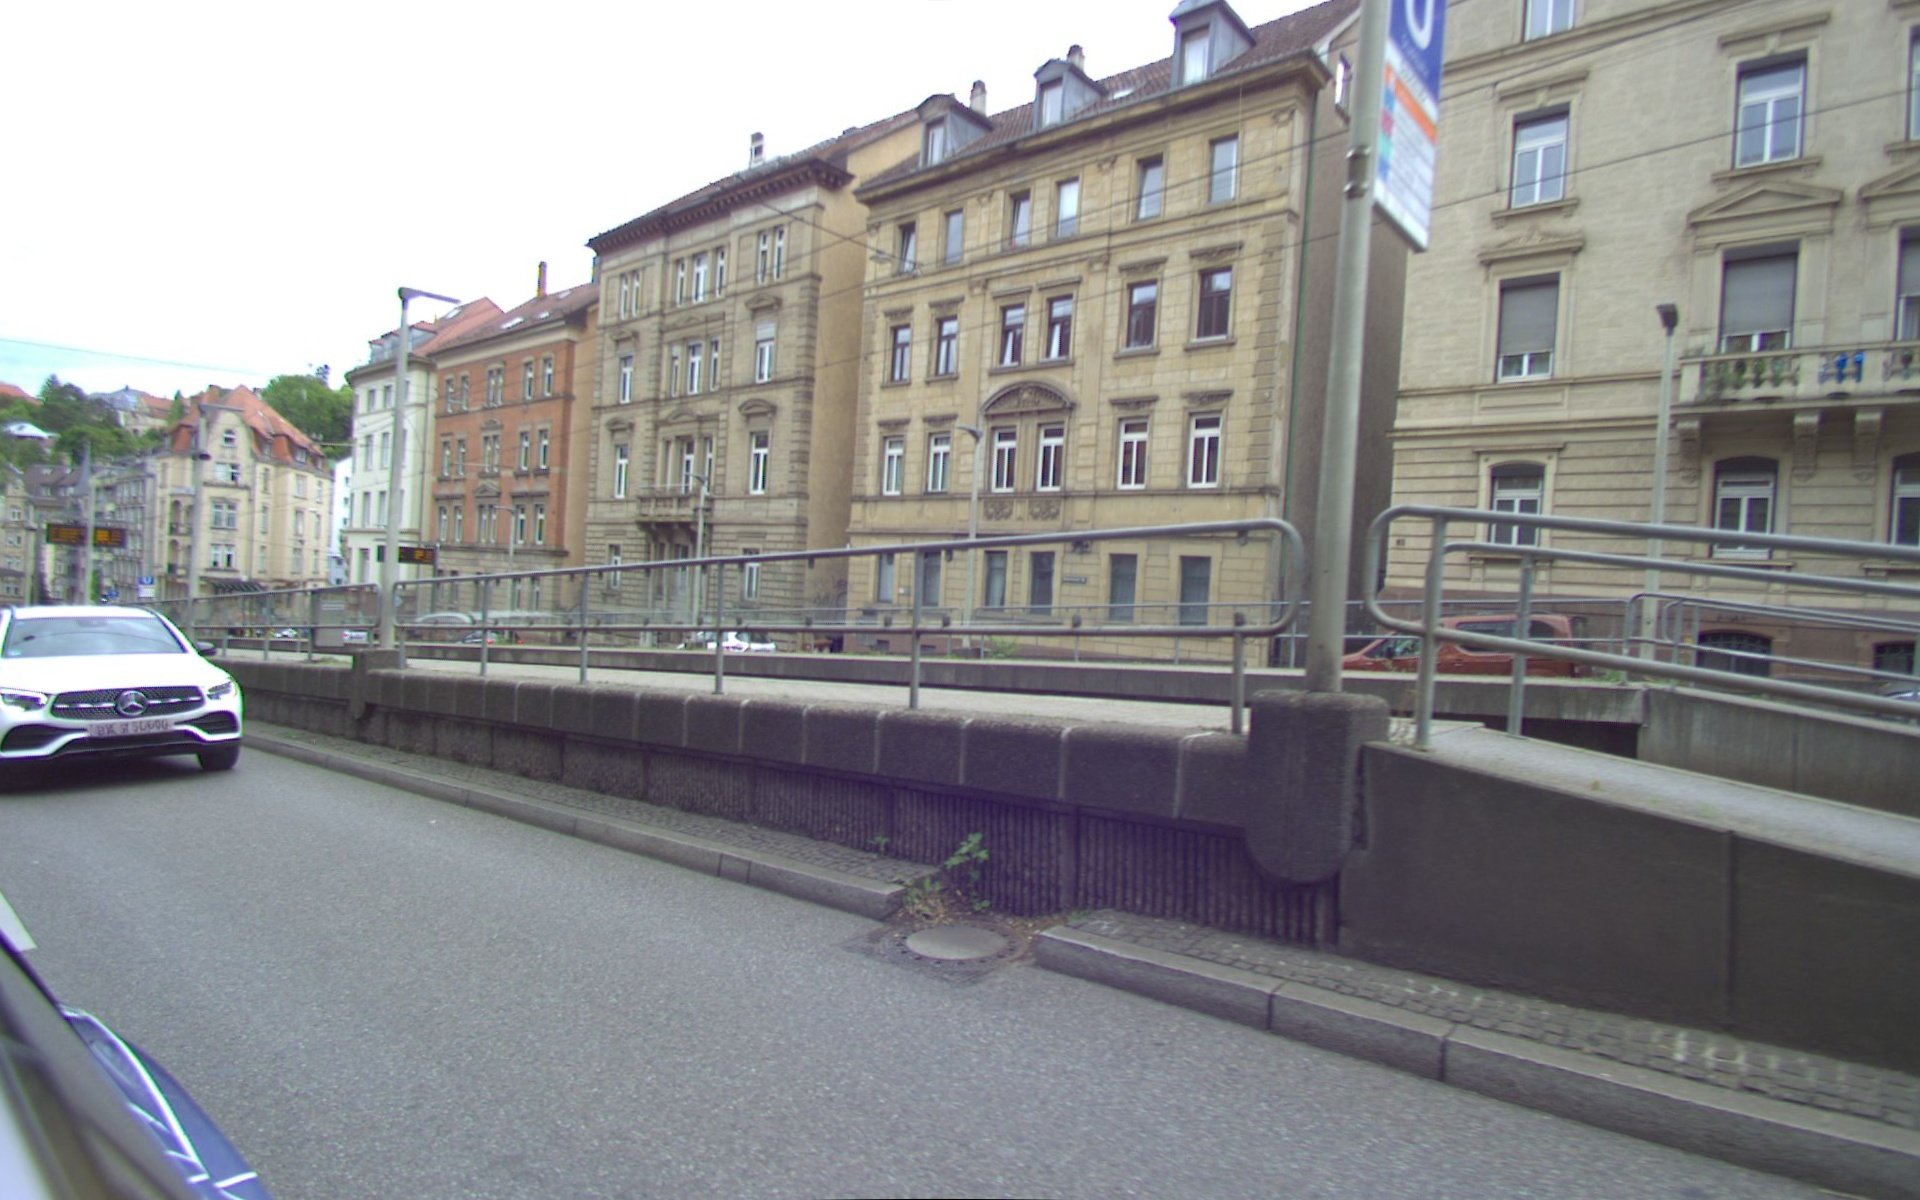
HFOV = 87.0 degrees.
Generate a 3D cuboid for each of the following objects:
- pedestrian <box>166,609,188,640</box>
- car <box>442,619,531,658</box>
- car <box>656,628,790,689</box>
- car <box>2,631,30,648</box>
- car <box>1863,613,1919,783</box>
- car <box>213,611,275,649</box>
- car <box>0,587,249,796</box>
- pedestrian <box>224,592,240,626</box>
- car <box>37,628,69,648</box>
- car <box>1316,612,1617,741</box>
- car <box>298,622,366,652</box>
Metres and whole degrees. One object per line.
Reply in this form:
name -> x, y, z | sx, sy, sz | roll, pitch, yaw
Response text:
pedestrian -> -42.891, 1.366, 55.444 | 0.843, 1.701, 0.757 | -2, -3, 41
car -> -19.591, 1.590, 41.809 | 3.998, 1.540, 1.858 | -2, -4, 41
car -> -7.130, 1.717, 30.294 | 3.998, 1.692, 1.915 | -2, -4, 41
car -> -98.802, 4.110, 105.942 | 3.864, 1.778, 1.803 | -2, -3, 43
car -> 11.833, 1.003, 9.792 | 4.575, 1.749, 1.691 | -1, -3, 42
car -> -45.526, 1.922, 64.319 | 5.452, 2.322, 1.973 | -1, -3, 41
car -> -8.954, 0.760, 10.260 | 4.668, 1.679, 1.816 | -1, -1, 41
pedestrian -> -34.371, 0.436, 47.789 | 0.540, 1.574, 0.457 | -2, -3, 40
car -> -82.961, 3.487, 92.546 | 3.864, 1.778, 1.803 | -2, -3, 43
car -> 8.282, 1.174, 16.749 | 4.136, 1.874, 1.829 | -1, -3, 41
car -> -32.595, 1.891, 52.485 | 4.257, 1.482, 1.750 | -1, -1, 40
